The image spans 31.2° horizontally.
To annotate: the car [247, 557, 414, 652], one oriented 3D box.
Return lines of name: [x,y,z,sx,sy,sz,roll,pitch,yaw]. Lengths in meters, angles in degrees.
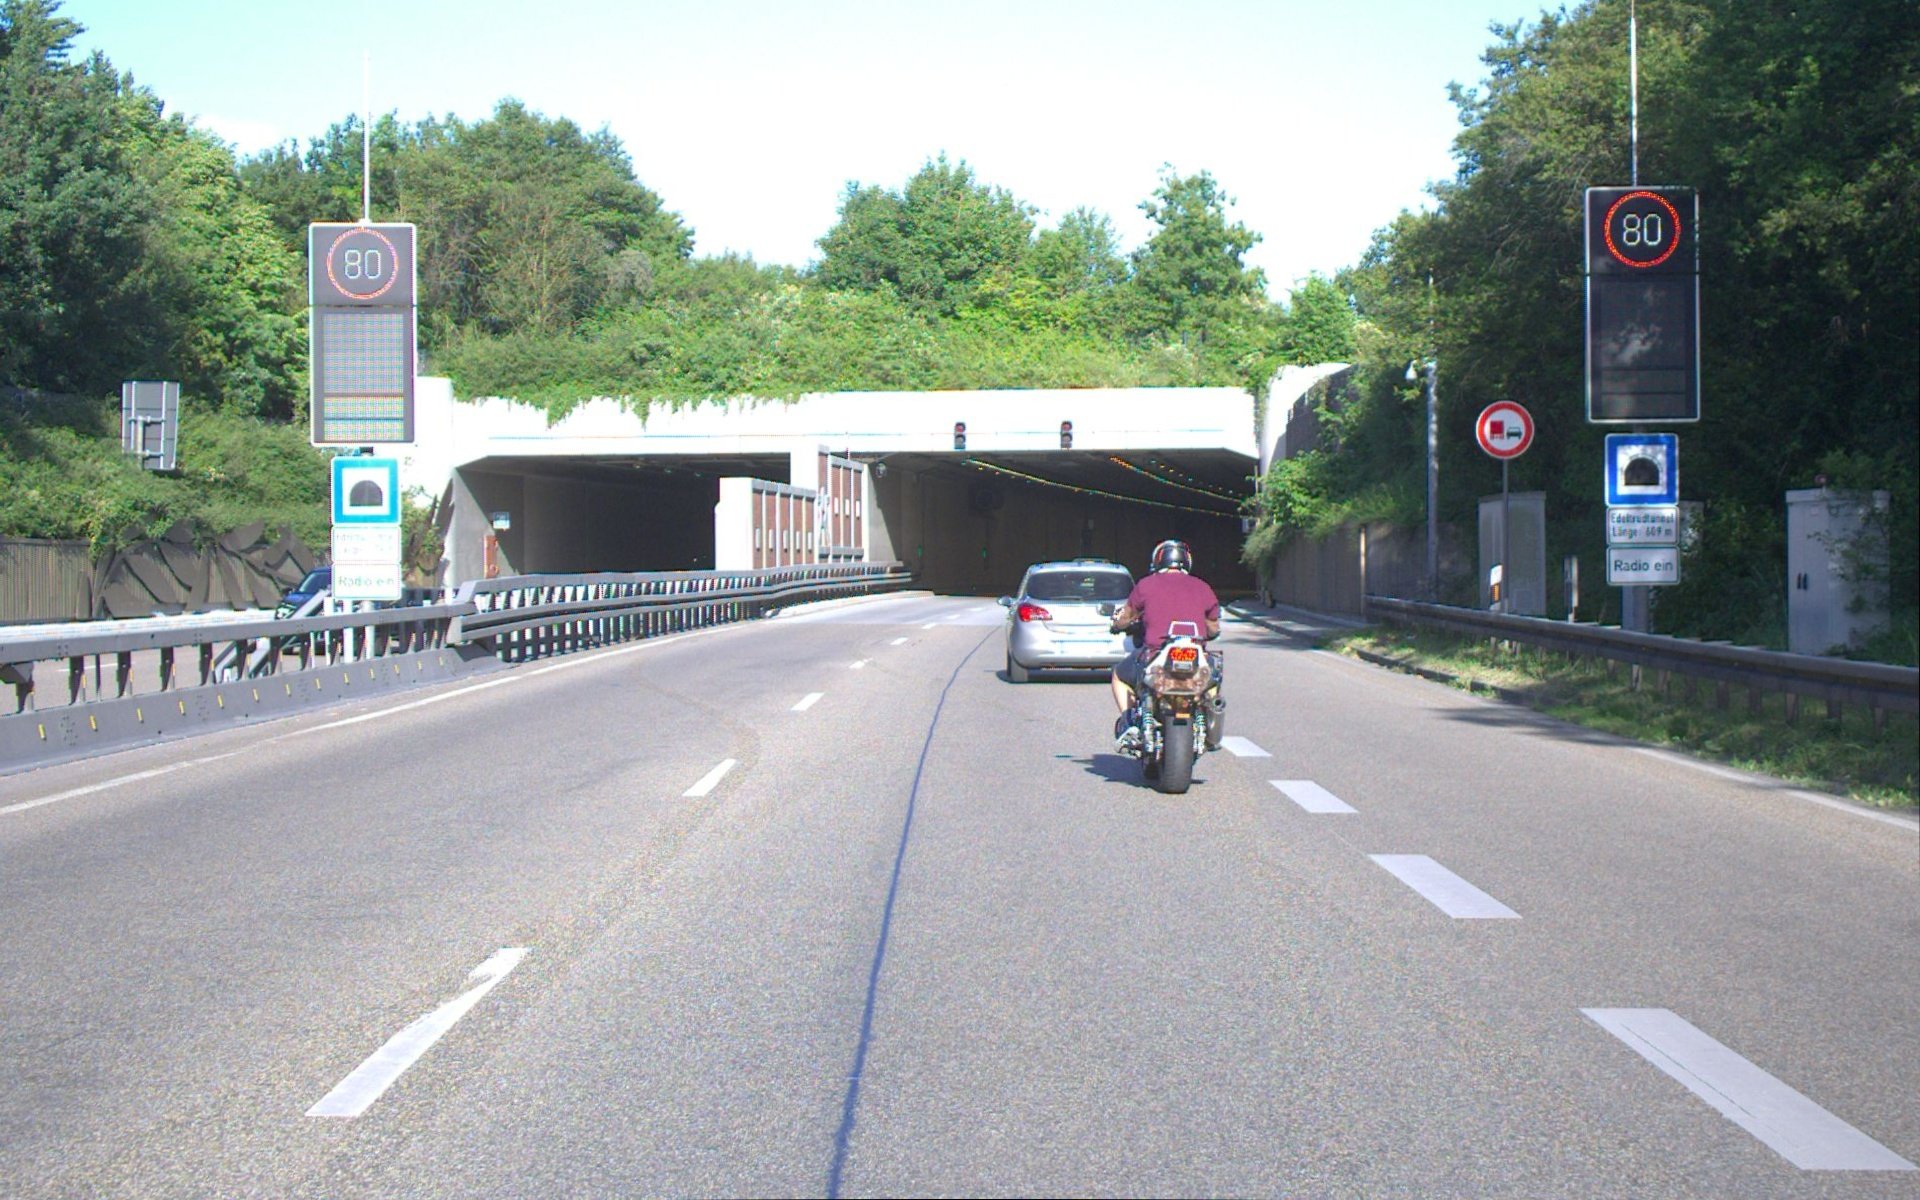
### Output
car: [-10.687,0.055,58.674,1.993,1.481,4.200,0,2,1]

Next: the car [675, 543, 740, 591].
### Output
car: [-9.348,-1.238,127.582,1.667,1.669,4.863,1,2,4]

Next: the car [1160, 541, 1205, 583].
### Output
car: [10.530,-1.795,162.676,1.994,1.919,3.999,0,1,5]

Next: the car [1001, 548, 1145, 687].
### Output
car: [1.367,0.179,42.652,1.667,1.546,4.000,1,2,1]

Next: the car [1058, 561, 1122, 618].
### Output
car: [4.495,-0.384,119.371,1.993,1.919,4.000,0,1,-1]

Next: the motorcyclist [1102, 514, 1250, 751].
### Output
motorcyclist: [1.410,0.195,22.602,0.883,1.496,1.063,1,2,1]

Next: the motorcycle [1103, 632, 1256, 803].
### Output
motorcycle: [1.416,0.741,22.622,0.858,0.988,2.728,1,1,1]
